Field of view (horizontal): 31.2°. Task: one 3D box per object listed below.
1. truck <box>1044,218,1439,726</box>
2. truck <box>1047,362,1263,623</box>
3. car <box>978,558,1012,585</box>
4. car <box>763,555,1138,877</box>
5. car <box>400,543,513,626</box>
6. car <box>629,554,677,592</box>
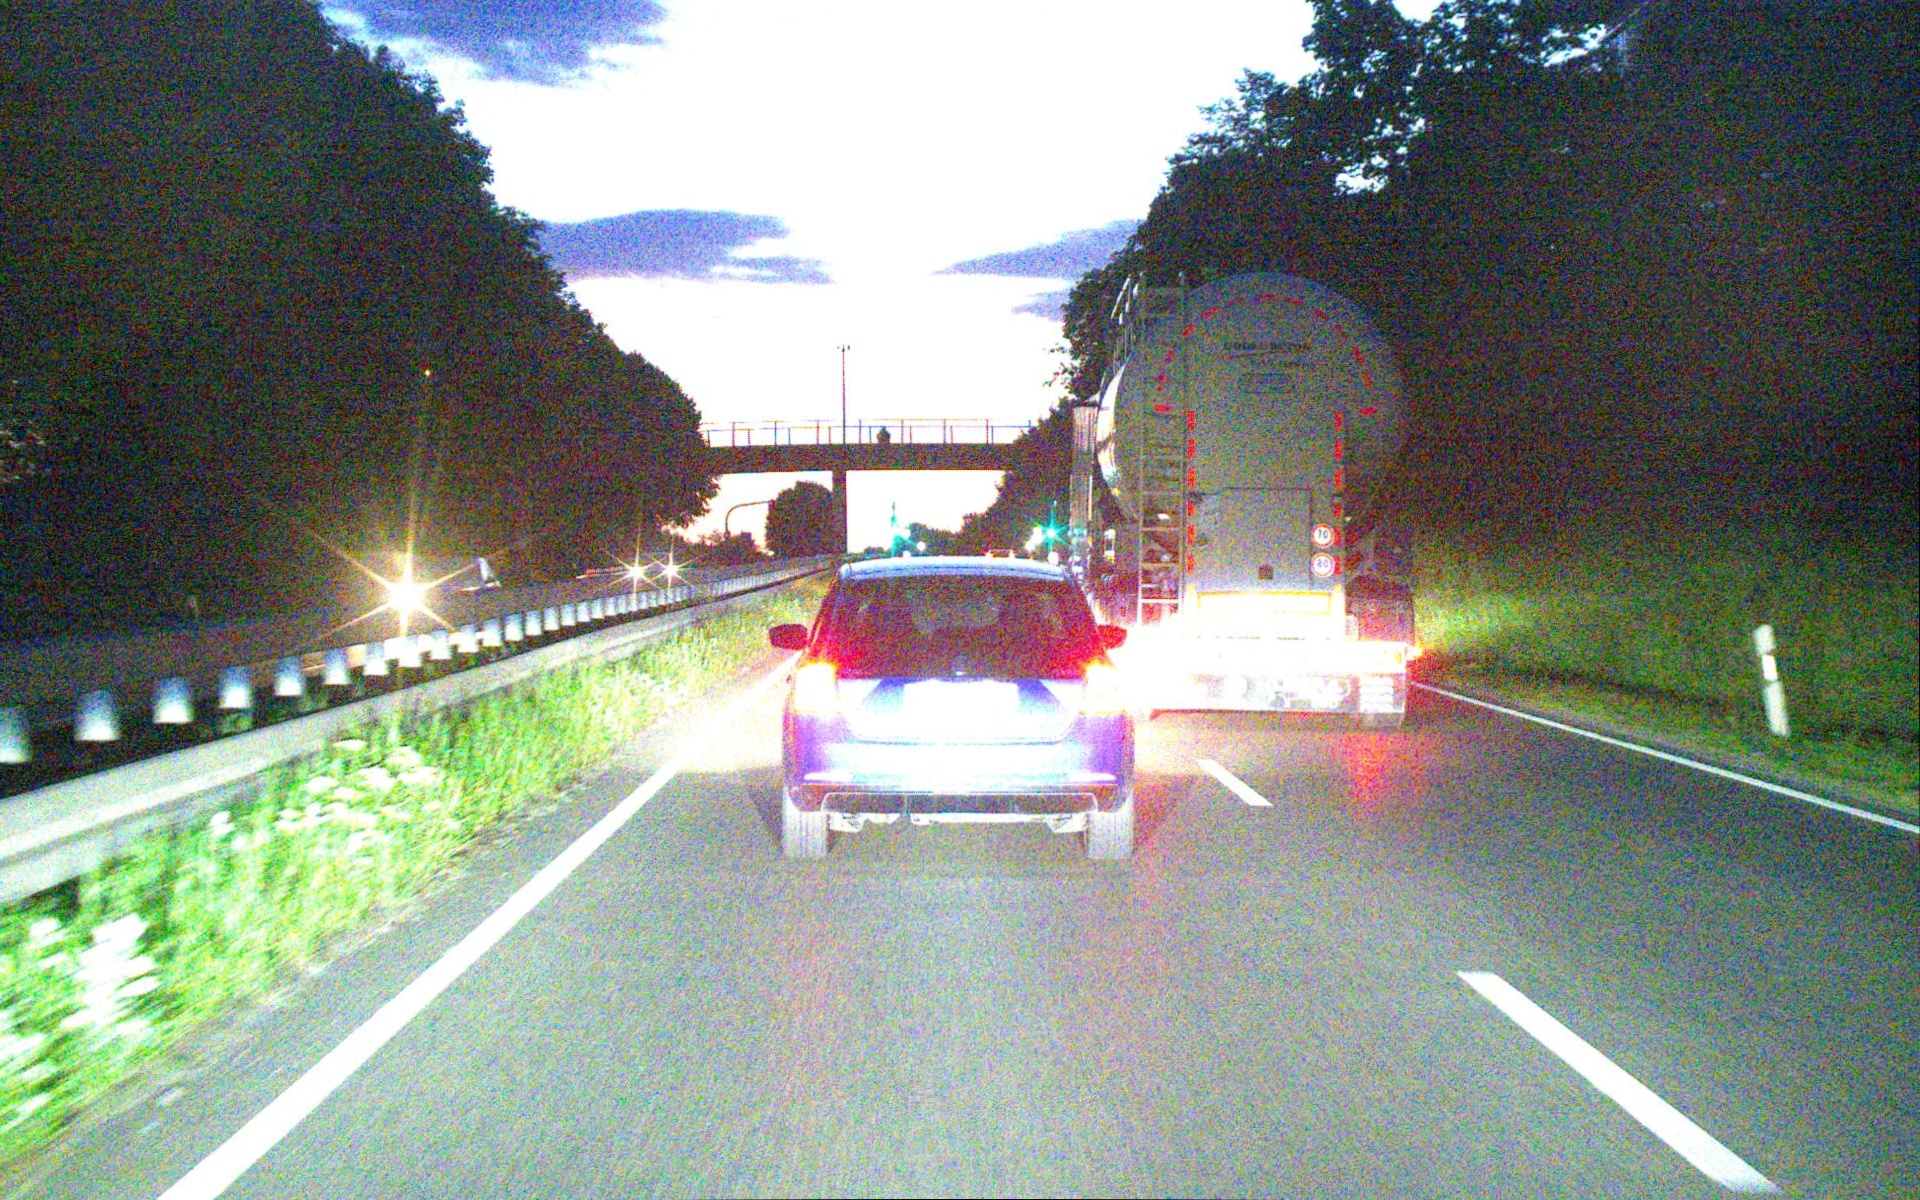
[{"bbox_3d":[2.447,-1.108,34.508,2.687,4.092,13.142,1,1,-1],"label":"truck"},{"bbox_3d":[3.246,-1.771,60.720,2.883,4.092,12.684,1,1,-1],"label":"truck"},{"bbox_3d":[1.846,-1.526,183.507,1.695,1.447,3.914,1,1,-1],"label":"car"},{"bbox_3d":[-0.068,0.508,17.611,1.695,1.447,3.914,1,1,-1],"label":"car"},{"bbox_3d":[-10.024,-0.342,68.709,1.682,1.582,4.167,1,1,-1],"label":"car"},{"bbox_3d":[-12.295,-1.090,137.847,1.617,1.502,3.869,1,1,-1],"label":"car"}]
